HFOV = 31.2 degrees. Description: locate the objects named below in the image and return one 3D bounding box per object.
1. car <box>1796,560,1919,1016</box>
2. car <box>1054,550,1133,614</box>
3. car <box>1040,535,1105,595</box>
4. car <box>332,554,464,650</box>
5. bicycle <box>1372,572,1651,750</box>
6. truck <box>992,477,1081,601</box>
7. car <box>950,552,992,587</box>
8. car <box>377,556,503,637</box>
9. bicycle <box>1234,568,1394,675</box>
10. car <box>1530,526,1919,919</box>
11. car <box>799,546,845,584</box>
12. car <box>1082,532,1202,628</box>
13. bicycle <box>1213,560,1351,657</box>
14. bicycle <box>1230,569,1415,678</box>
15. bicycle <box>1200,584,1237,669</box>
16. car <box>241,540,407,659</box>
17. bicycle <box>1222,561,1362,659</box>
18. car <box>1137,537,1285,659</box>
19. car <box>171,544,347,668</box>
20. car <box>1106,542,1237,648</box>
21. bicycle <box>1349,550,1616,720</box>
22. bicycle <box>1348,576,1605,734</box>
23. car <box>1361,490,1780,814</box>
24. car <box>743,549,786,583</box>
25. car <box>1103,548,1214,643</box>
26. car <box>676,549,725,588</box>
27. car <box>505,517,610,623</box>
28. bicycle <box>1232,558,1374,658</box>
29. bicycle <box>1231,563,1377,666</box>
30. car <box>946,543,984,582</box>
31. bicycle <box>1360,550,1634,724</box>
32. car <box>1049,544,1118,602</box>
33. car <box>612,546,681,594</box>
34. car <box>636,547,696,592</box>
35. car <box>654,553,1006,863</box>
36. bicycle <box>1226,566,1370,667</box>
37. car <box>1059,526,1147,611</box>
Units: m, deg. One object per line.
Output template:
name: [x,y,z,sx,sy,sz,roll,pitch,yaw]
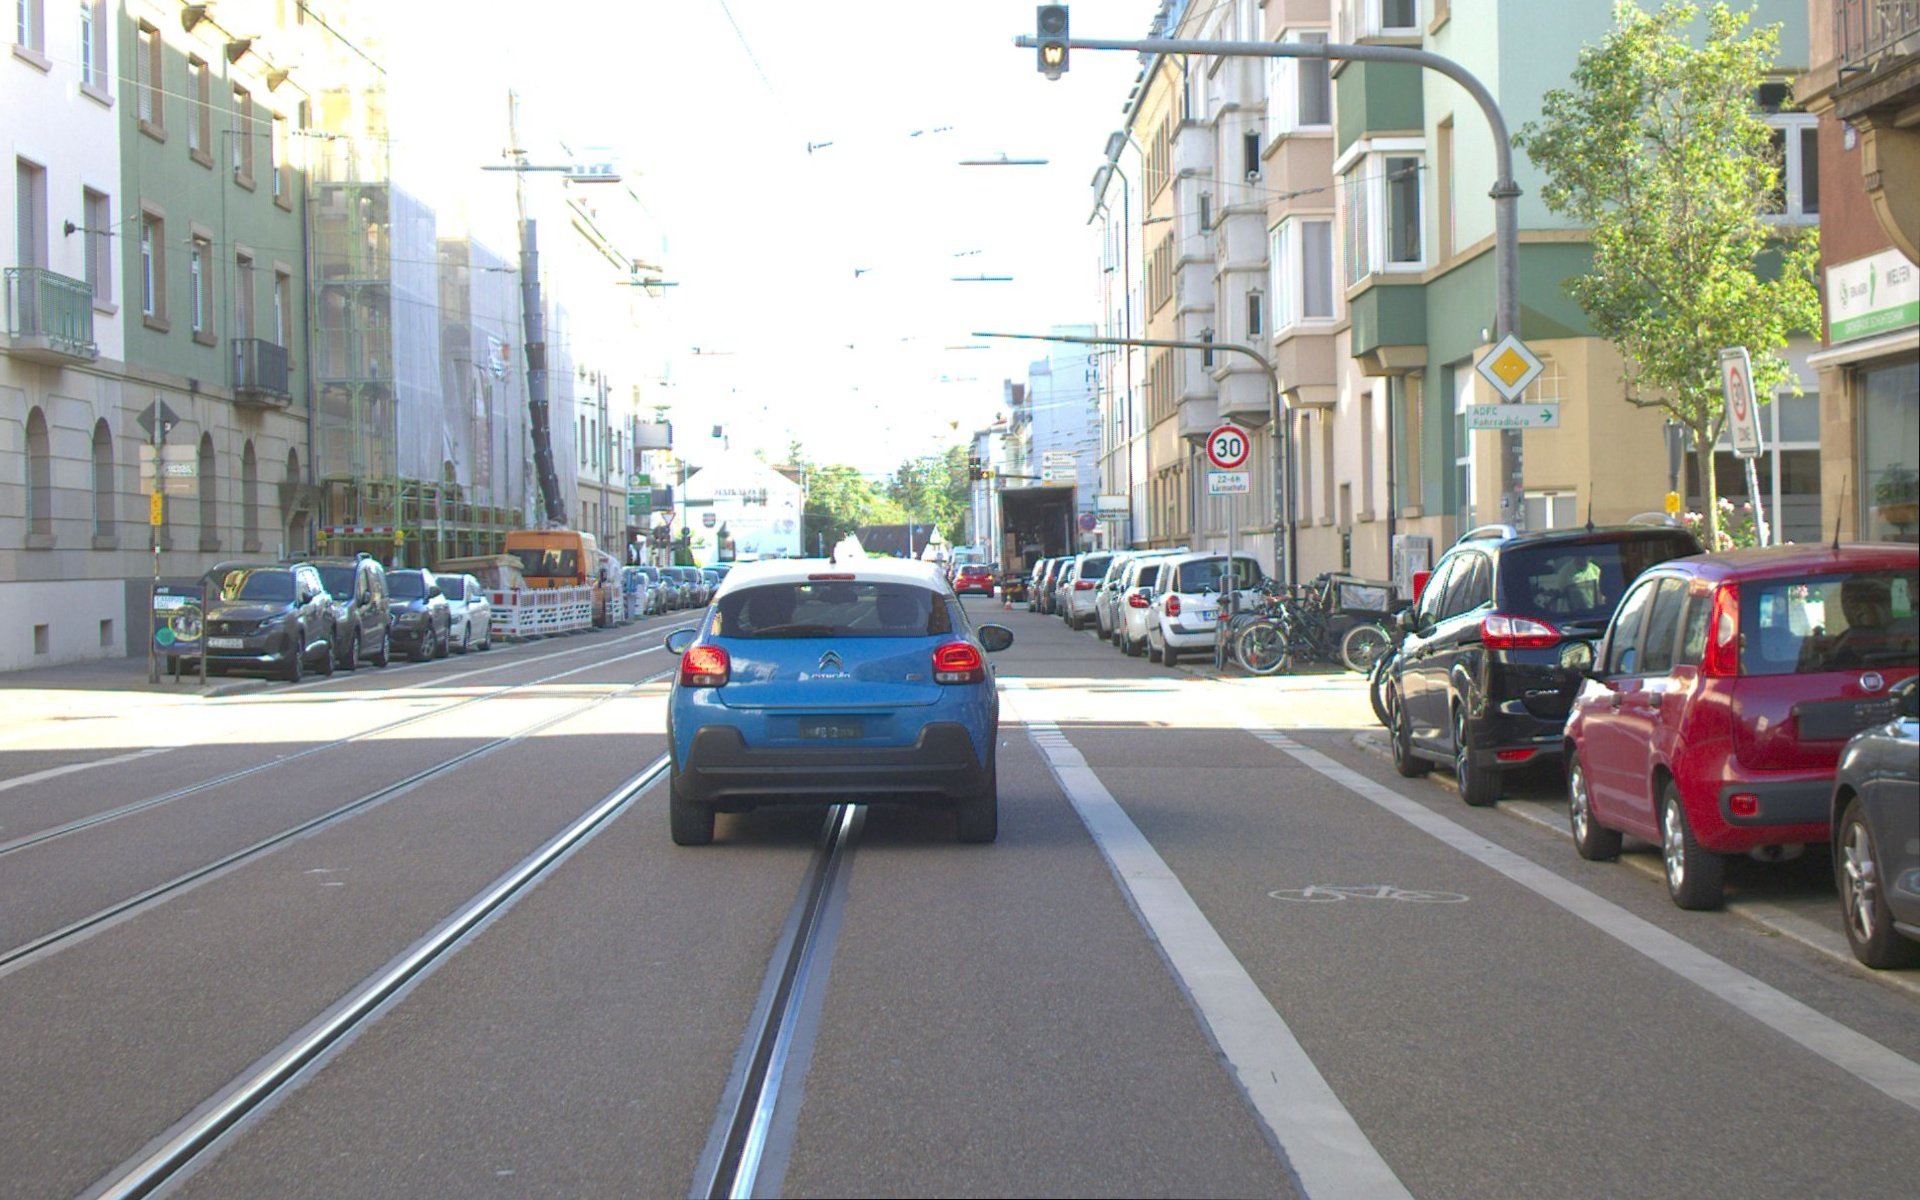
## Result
car: [4.037,0.634,10.816,1.654,1.508,4.474,-2,1,0]
car: [3.251,-0.458,84.553,1.722,1.481,4.222,-2,1,0]
car: [3.211,-1.026,99.059,1.664,1.641,4.222,-2,1,0]
car: [-9.972,0.003,61.245,1.783,1.621,4.610,0,1,-2]
bicycle: [4.126,0.452,25.791,1.959,1.223,0.527,-3,1,0]
truck: [2.626,-2.135,120.493,2.853,4.069,11.271,-2,1,1]
car: [0.481,-1.385,153.844,1.765,1.481,4.032,-2,1,0]
car: [-10.119,-0.092,67.145,1.718,1.497,4.388,0,1,1]
bicycle: [4.366,0.265,42.449,1.843,1.150,0.469,-5,1,0]
car: [3.848,0.471,16.089,1.753,1.589,3.730,-2,1,1]
car: [-6.206,-1.590,155.096,1.826,1.626,4.490,-2,1,0]
car: [3.480,-0.403,66.384,1.654,1.746,4.604,-2,1,-5]
bicycle: [4.317,0.112,46.160,1.722,1.150,0.469,-5,1,0]
bicycle: [4.391,0.275,41.757,2.086,1.150,0.848,-4,1,0]
bicycle: [3.354,0.334,44.715,0.353,1.041,1.728,-2,1,1]
car: [-10.145,-0.043,55.164,1.783,1.810,4.528,0,1,1]
bicycle: [4.388,0.127,45.533,1.722,1.150,0.469,-5,1,0]
car: [3.564,-0.059,49.412,1.783,1.626,4.000,-2,1,0]
car: [-10.074,0.043,49.706,1.783,1.684,4.668,0,1,-2]
car: [3.369,-0.113,55.342,1.783,1.570,4.326,-2,1,0]
bicycle: [4.083,0.269,26.922,1.959,1.223,0.527,-3,1,0]
bicycle: [4.122,0.435,27.504,1.923,1.157,0.527,-3,1,0]
car: [3.781,0.258,22.079,1.753,1.730,4.507,-5,1,0]
car: [-9.668,-1.690,170.164,1.826,1.626,4.045,-2,1,0]
car: [3.465,-0.105,60.661,1.655,1.561,4.338,-2,1,0]
car: [-11.387,-1.406,151.059,1.826,1.626,3.905,-2,1,-1]
car: [-9.875,-0.767,84.613,2.144,2.467,4.981,-1,1,-2]
bicycle: [4.474,0.096,44.910,1.722,1.150,0.469,-5,1,0]
bicycle: [4.366,0.179,43.685,1.722,1.150,0.469,-5,1,0]
car: [0.306,-2.332,212.836,2.220,2.276,4.084,-2,1,0]
bicycle: [4.106,0.276,26.361,1.959,1.223,0.527,-3,1,0]
car: [3.355,-0.756,93.943,1.664,1.514,4.222,-2,1,0]
car: [-11.409,-1.105,125.211,2.144,1.616,4.000,-2,1,-1]
car: [-11.169,-1.170,130.985,1.826,1.626,4.849,-2,1,0]
car: [-0.653,0.510,19.003,1.735,1.502,3.993,0,1,0]
bicycle: [4.347,0.209,44.233,1.722,1.150,0.469,-5,1,0]
car: [3.228,-0.744,78.408,1.730,1.821,4.687,-2,1,0]
